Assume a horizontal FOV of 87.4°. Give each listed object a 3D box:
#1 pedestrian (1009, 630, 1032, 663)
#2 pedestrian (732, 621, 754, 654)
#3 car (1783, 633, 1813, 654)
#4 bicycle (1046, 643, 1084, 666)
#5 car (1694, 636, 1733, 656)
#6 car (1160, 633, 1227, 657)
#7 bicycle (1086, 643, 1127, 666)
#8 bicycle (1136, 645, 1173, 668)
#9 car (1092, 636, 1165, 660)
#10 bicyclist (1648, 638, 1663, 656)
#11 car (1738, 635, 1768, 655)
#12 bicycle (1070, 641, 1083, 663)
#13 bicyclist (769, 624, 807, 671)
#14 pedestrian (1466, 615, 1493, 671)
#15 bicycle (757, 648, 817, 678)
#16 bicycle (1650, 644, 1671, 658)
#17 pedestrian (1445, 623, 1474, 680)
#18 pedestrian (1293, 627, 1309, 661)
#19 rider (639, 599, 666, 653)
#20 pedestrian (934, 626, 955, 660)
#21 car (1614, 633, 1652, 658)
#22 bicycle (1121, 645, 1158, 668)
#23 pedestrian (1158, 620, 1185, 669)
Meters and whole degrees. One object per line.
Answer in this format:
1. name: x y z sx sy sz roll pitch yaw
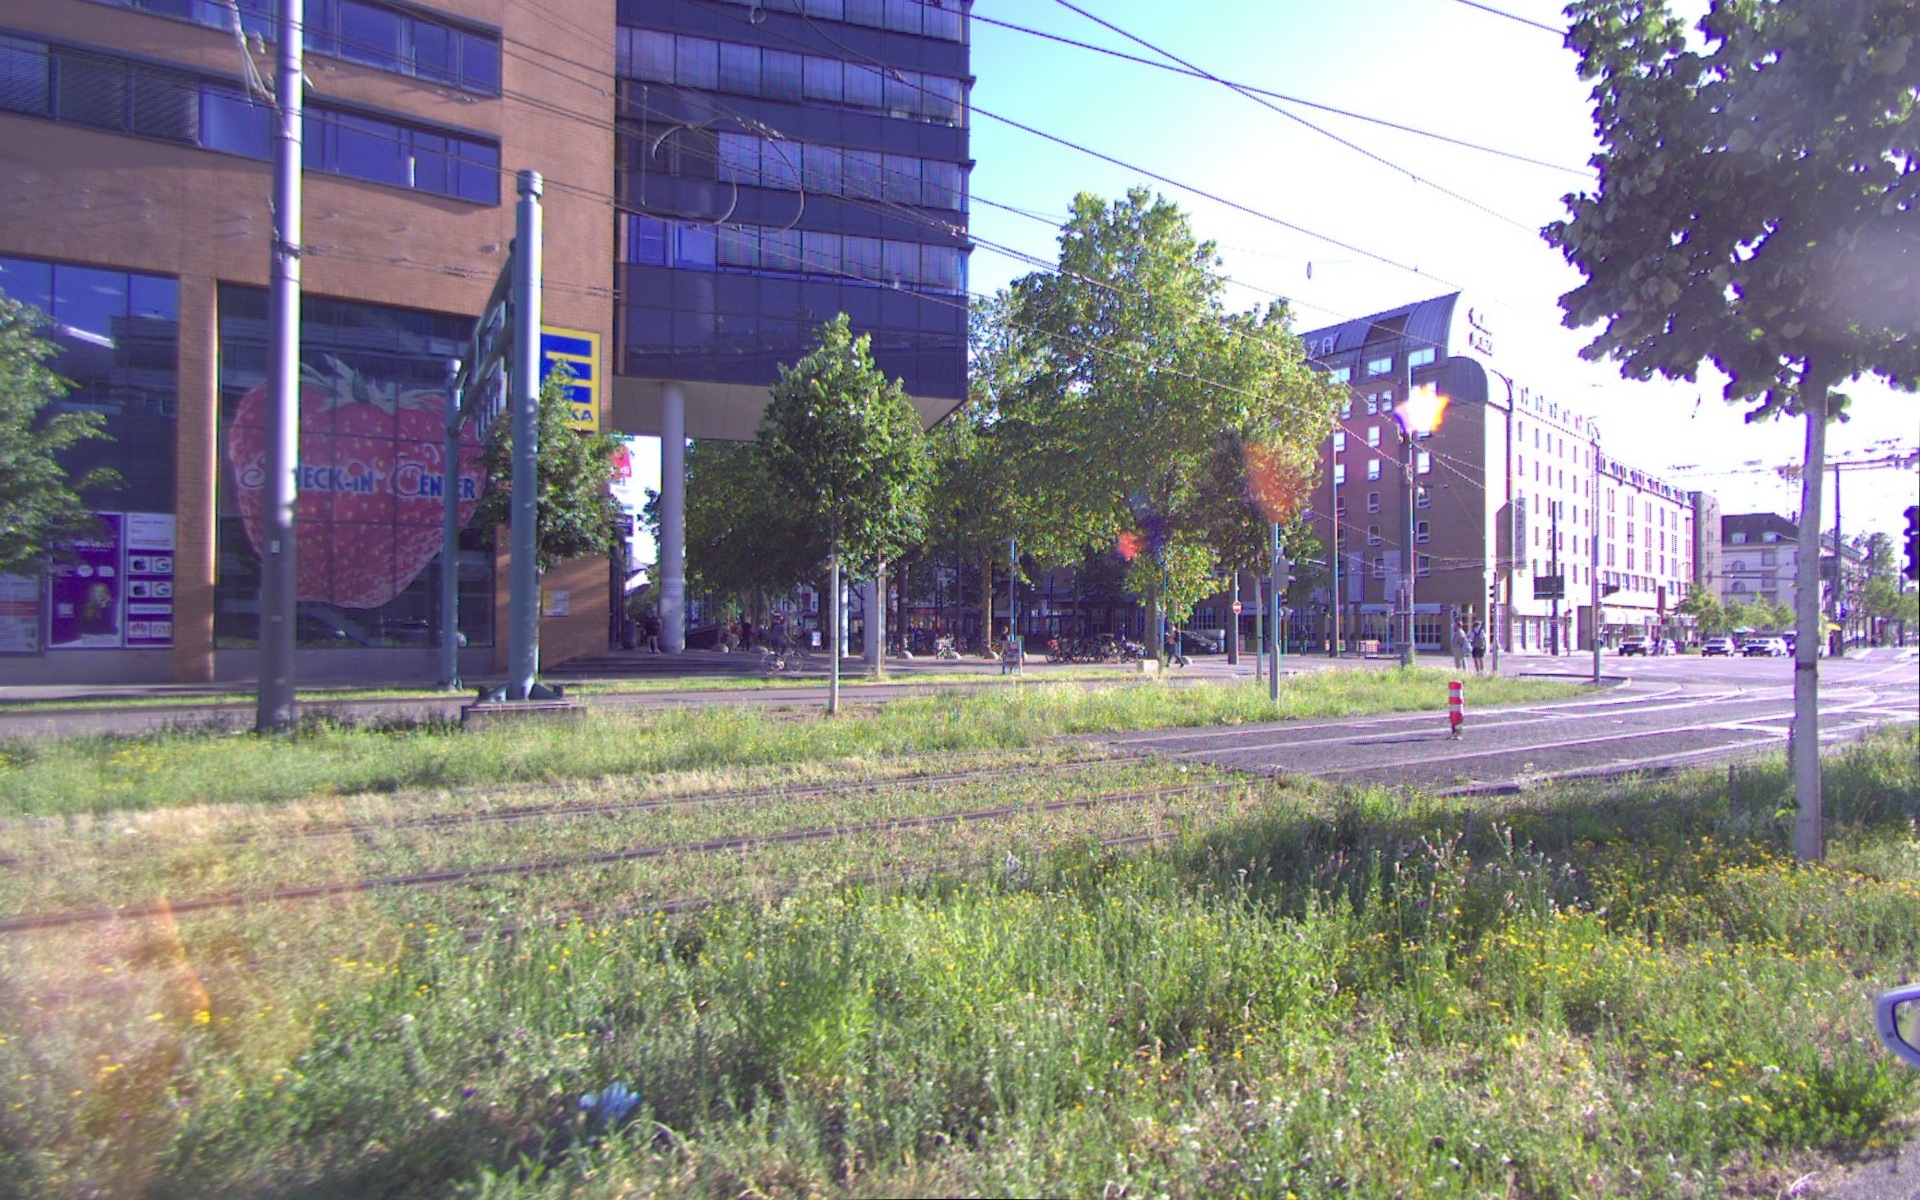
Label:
1. pedestrian: 3.029 2.342 50.323 0.827 1.619 0.730 1 0 -28
2. pedestrian: -11.593 2.014 53.656 1.092 1.730 0.789 1 0 -15
3. car: 64.328 3.301 77.108 1.725 1.524 3.861 -1 -2 40
4. bicycle: 4.691 2.436 44.957 1.747 0.964 0.538 -1 -2 44
5. car: 61.864 3.741 82.400 1.973 1.617 4.709 -1 -2 44
6. car: 14.770 2.825 63.595 1.744 1.439 3.957 1 -2 -38
7. bicycle: 6.562 2.432 45.069 1.740 0.964 0.540 0 -1 32
8. bicycle: 8.863 2.564 45.891 0.536 0.964 1.752 1 -2 -38
9. car: 9.632 2.721 57.635 1.979 1.283 3.964 1 -2 -33
10. bicyclist: 54.754 3.678 79.056 0.943 1.393 0.751 1 -2 -40
11. car: 63.032 3.575 79.817 1.725 1.524 3.861 -1 -2 40
12. bicycle: 5.410 2.393 46.706 0.530 0.964 1.772 0 -1 4
13. bicyclist: -5.545 1.528 32.326 1.006 1.484 0.673 1 0 -35
14. pedestrian: 17.395 1.442 33.636 0.657 1.841 0.558 1 -1 -38
15. bicycle: -5.548 2.024 32.322 1.869 0.922 0.495 1 -2 -35
16. bicycle: 55.355 4.003 79.401 2.903 1.099 0.644 2 -2 -41
17. pedestrian: 16.436 1.675 33.039 0.657 1.854 0.626 1 -1 -38
18. pedestrian: 20.637 2.684 60.826 0.670 2.040 0.662 1 -1 -31
19. rider: -10.615 0.903 34.651 0.704 1.826 0.714 1 -1 -31
20. pedestrian: -0.797 2.156 50.402 0.827 1.667 0.730 1 -1 -28
21. car: 56.958 3.837 84.942 1.973 2.040 3.975 -1 -2 44
22. bicycle: 8.134 2.544 45.558 0.536 0.964 1.752 1 -2 -38
23. pedestrian: 8.961 1.865 42.597 0.827 2.040 0.730 1 0 -28
